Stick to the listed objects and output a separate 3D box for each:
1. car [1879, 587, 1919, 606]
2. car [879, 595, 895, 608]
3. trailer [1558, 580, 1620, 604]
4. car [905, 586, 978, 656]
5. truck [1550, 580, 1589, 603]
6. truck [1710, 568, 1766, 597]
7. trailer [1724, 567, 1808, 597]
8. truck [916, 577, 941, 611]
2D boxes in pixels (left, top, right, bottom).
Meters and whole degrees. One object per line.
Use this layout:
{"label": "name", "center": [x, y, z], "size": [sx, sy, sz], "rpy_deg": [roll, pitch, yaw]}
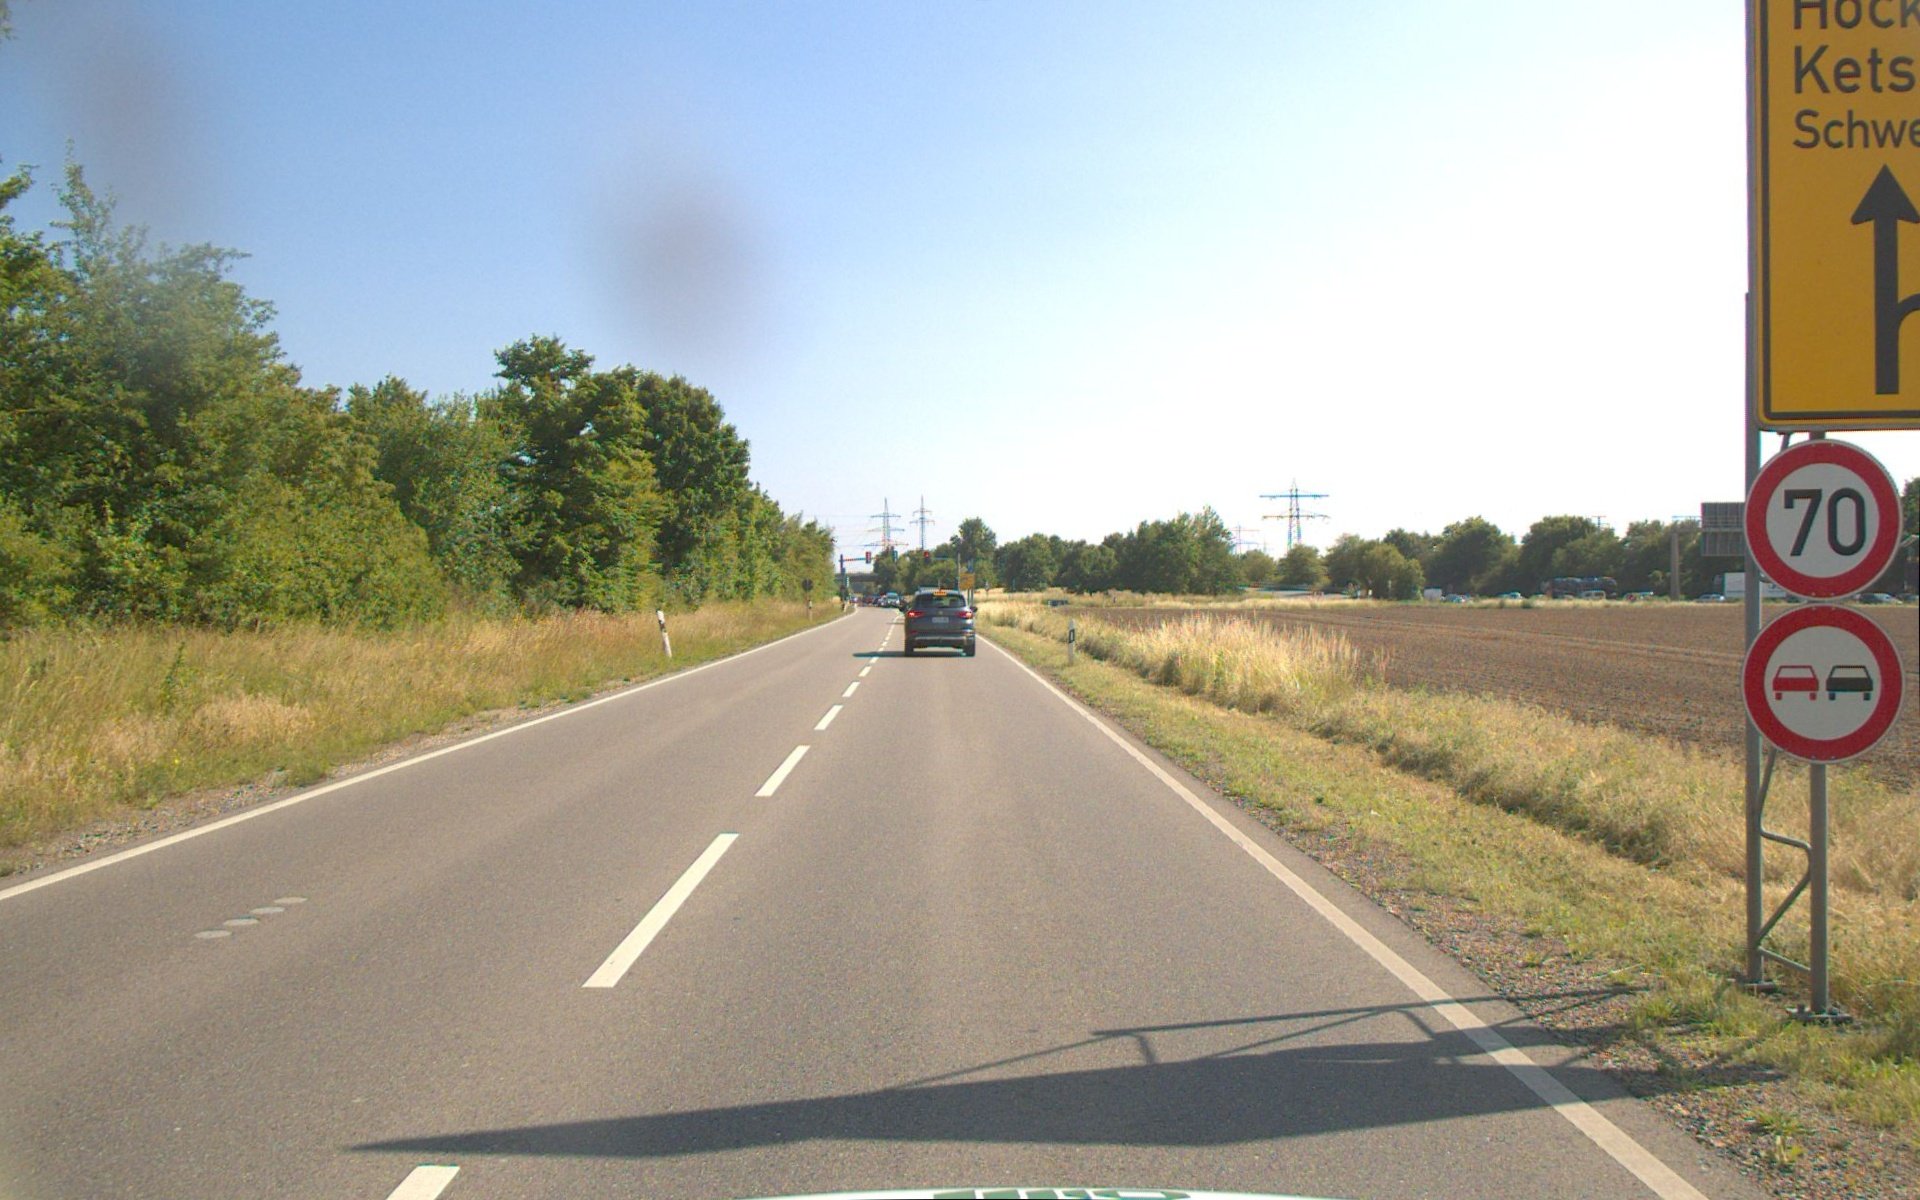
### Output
{"label": "car", "center": [81.222, -0.287, 142.164], "size": [1.867, 1.640, 4.473], "rpy_deg": [1, 0, 0]}
{"label": "car", "center": [-9.242, 0.205, 209.043], "size": [1.781, 1.567, 3.995], "rpy_deg": [0, 0, -6]}
{"label": "trailer", "center": [90.249, -1.225, 237.555], "size": [3.219, 3.324, 13.446], "rpy_deg": [0, 1, -3]}
{"label": "car", "center": [-0.520, 0.490, 41.750], "size": [1.750, 1.657, 3.998], "rpy_deg": [0, 0, -2]}
{"label": "truck", "center": [89.926, -1.295, 244.139], "size": [3.219, 3.324, 6.425], "rpy_deg": [0, 1, -3]}
{"label": "truck", "center": [93.327, -2.034, 198.514], "size": [3.219, 3.324, 6.975], "rpy_deg": [-1, 0, -3]}
{"label": "trailer", "center": [93.664, -2.040, 192.526], "size": [3.219, 3.324, 12.449], "rpy_deg": [-1, 0, -3]}
{"label": "truck", "center": [-2.910, -0.565, 155.371], "size": [2.290, 3.120, 5.808], "rpy_deg": [0, 0, -1]}
